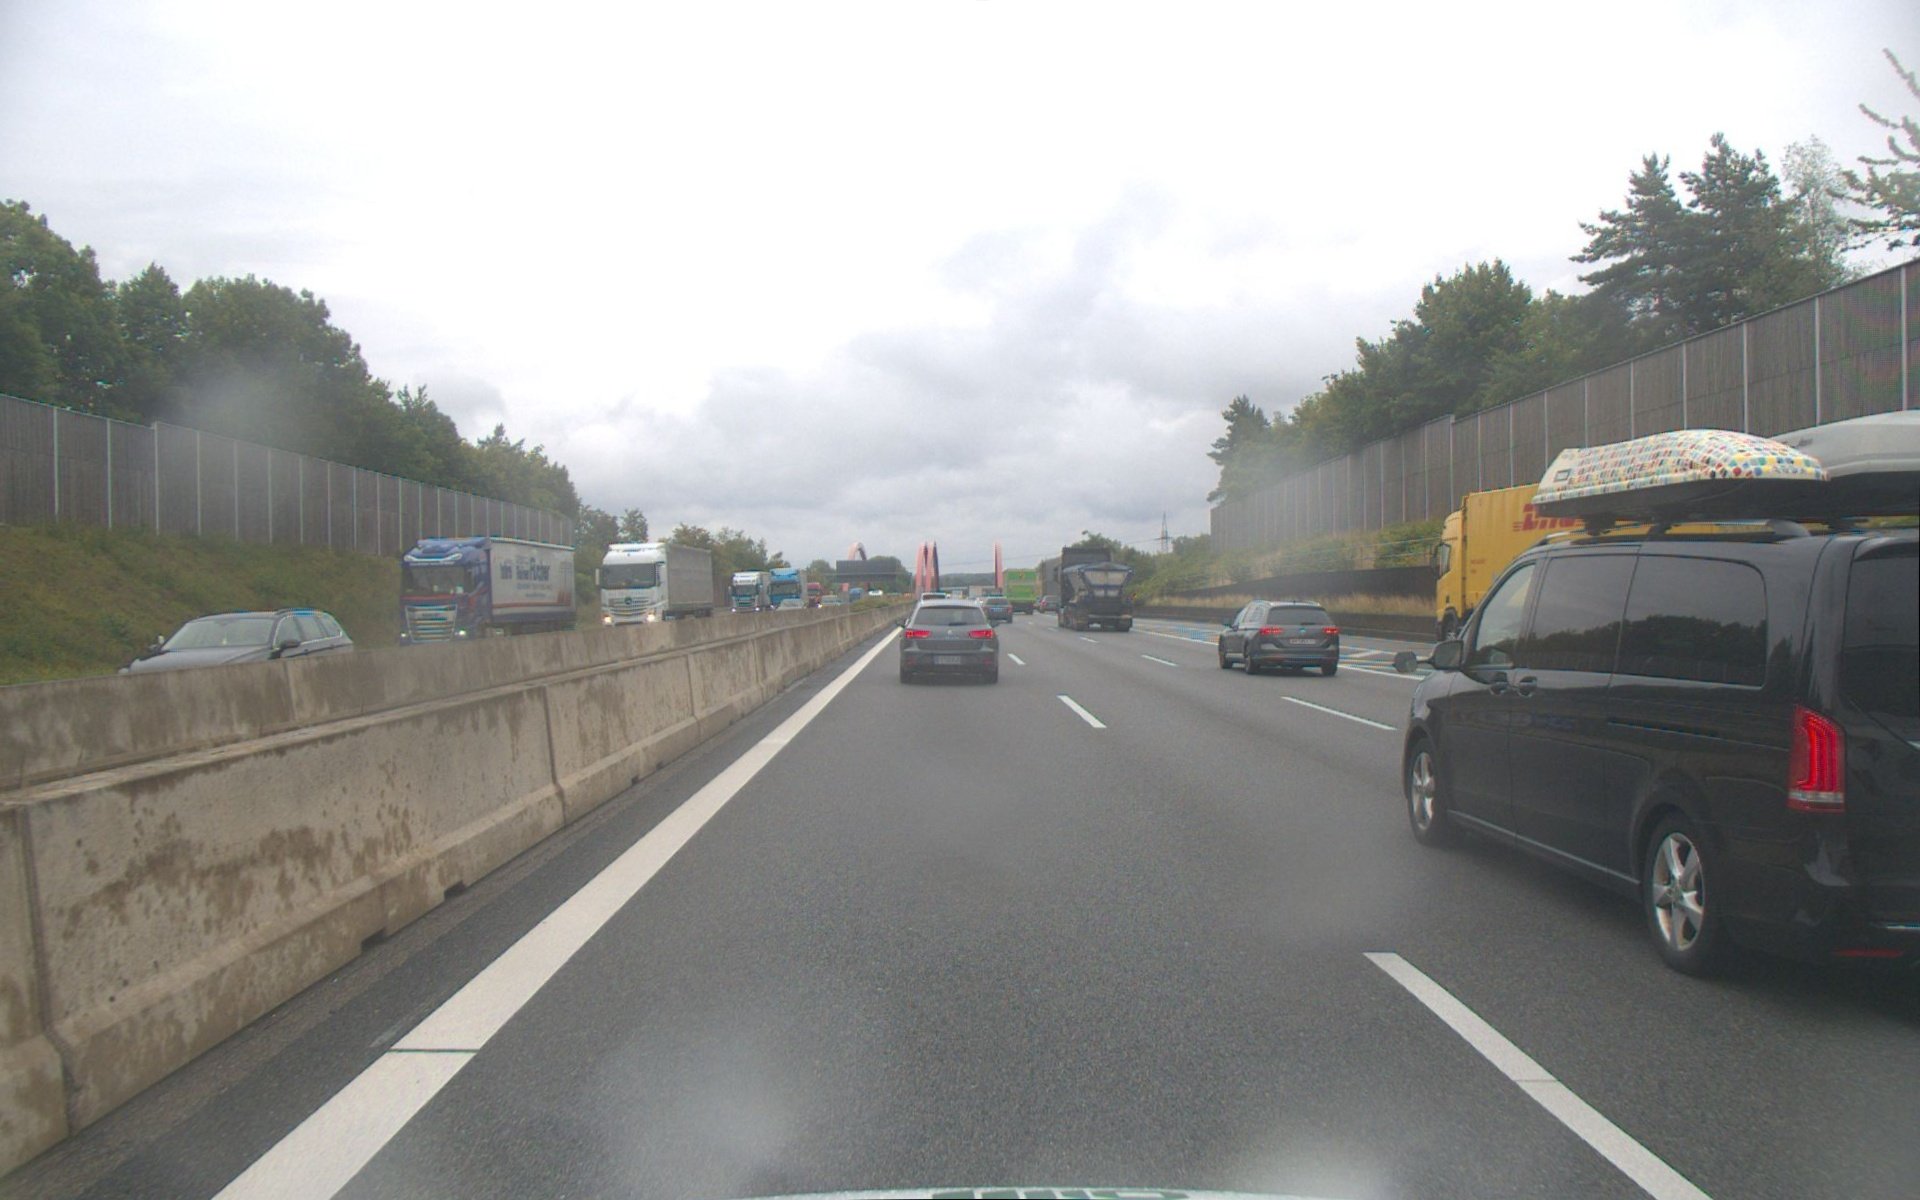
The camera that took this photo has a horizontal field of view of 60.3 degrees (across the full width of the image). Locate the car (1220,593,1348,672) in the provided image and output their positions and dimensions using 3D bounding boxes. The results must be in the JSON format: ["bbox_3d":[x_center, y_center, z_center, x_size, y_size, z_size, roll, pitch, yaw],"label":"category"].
[{"bbox_3d":[6.550,0.628,33.850,1.629,1.482,4.469,1,0,-2],"label":"car"}]

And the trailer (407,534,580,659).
[{"bbox_3d":[-18.247,-0.110,66.053,3.027,4.400,14.335,-1,0,-1],"label":"trailer"}]

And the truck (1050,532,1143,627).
[{"bbox_3d":[6.206,-0.854,77.369,3.026,4.019,12.942,-1,0,-1],"label":"truck"}]

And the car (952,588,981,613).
[{"bbox_3d":[0.466,0.016,115.738,1.953,1.691,3.999,0,0,-1],"label":"car"}]

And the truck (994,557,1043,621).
[{"bbox_3d":[5.073,-0.876,145.153,3.916,5.358,11.219,1,0,0],"label":"truck"}]

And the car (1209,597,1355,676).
[{"bbox_3d":[6.542,0.691,34.207,1.900,1.452,5.288,1,0,-1],"label":"car"}]

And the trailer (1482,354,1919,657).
[{"bbox_3d":[13.782,-1.218,30.391,2.597,4.022,16.679,1,0,-2],"label":"trailer"}]

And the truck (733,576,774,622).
[{"bbox_3d":[-18.035,-0.080,144.547,2.830,3.862,5.888,-1,0,-1],"label":"truck"}]

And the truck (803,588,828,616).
[{"bbox_3d":[-19.887,0.237,227.487,2.640,3.771,6.482,1,0,2],"label":"truck"}]

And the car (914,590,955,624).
[{"bbox_3d":[-1.281,0.344,81.633,1.953,1.612,3.999,-1,0,-1],"label":"car"}]

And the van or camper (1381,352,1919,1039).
[{"bbox_3d":[3.846,0.331,8.424,1.852,2.309,5.678,1,0,-1],"label":"van or camper"}]

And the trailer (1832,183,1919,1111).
[{"bbox_3d":[4.174,0.156,1.534,2.666,2.688,7.510,0,0,-1],"label":"trailer"}]

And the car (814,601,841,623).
[{"bbox_3d":[-11.075,1.013,138.451,1.953,1.766,5.001,-1,0,-1],"label":"car"}]

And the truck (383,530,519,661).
[{"bbox_3d":[-18.129,-0.137,59.331,3.027,4.400,6.096,-1,0,-1],"label":"truck"}]

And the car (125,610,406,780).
[{"bbox_3d":[-9.589,1.214,23.317,1.953,2.049,4.768,-1,0,-1],"label":"car"}]

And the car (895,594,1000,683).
[{"bbox_3d":[-0.262,0.639,29.346,1.728,1.478,3.999,0,0,-2],"label":"car"}]

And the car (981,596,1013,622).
[{"bbox_3d":[2.074,0.489,93.565,1.745,1.431,3.626,0,0,-1],"label":"car"}]

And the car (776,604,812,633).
[{"bbox_3d":[-10.671,1.171,106.802,1.932,1.719,4.356,-1,0,-1],"label":"car"}]

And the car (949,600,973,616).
[{"bbox_3d":[0.085,0.707,146.903,1.953,1.378,3.999,-1,0,-1],"label":"car"}]

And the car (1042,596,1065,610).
[{"bbox_3d":[9.017,0.270,159.280,1.953,1.378,3.999,0,0,-1],"label":"car"}]

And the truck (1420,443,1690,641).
[{"bbox_3d":[13.501,-1.174,38.570,2.631,4.027,9.322,1,0,-2],"label":"truck"}]

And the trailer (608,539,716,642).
[{"bbox_3d":[-13.856,-0.372,78.227,2.723,4.400,14.021,1,0,-1],"label":"trailer"}]

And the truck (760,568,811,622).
[{"bbox_3d":[-14.939,-0.410,142.606,3.087,4.400,12.678,1,0,0],"label":"truck"}]

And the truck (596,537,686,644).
[{"bbox_3d":[-13.756,-0.386,71.795,2.723,4.400,6.096,1,0,-1],"label":"truck"}]
